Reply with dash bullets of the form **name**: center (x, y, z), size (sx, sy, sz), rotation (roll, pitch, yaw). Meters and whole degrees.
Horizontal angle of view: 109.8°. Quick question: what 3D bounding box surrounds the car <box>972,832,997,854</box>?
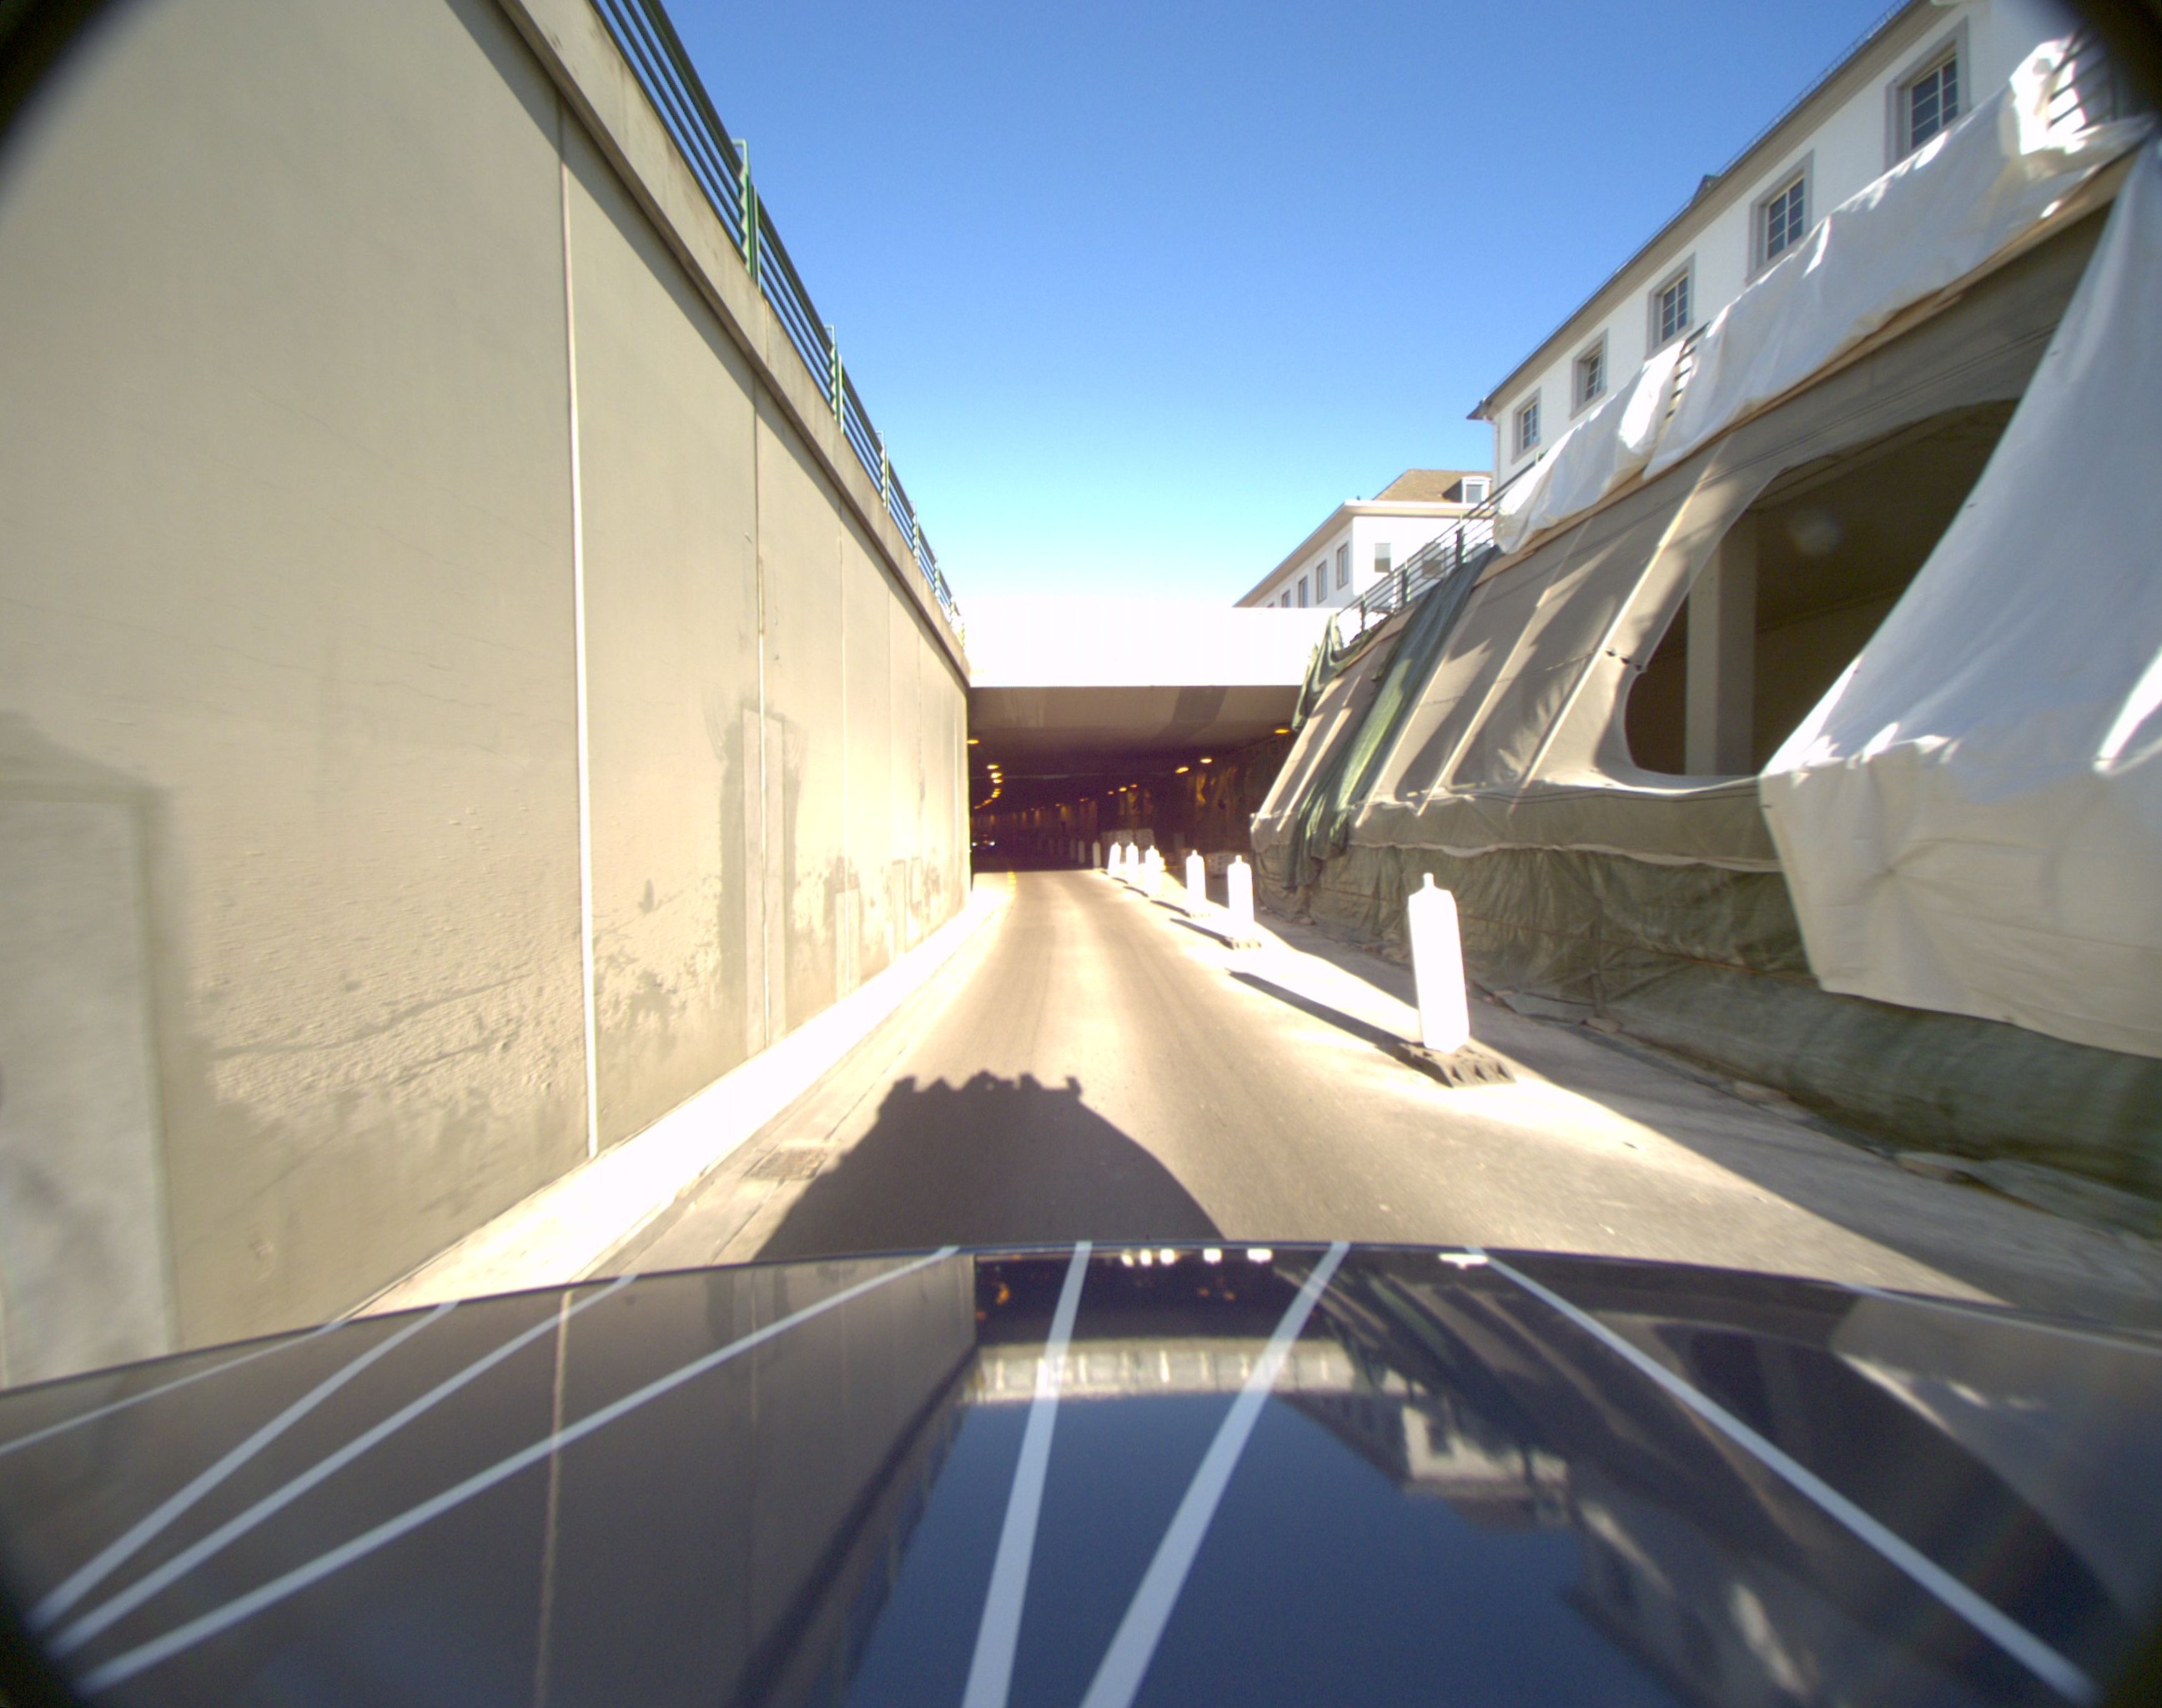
- **car**: center (-7.809, -0.915, 61.208), size (1.898, 1.537, 4.235), rotation (-2, 3, -8)

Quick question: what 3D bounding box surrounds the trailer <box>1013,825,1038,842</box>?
- **trailer**: center (-6.805, -2.493, 92.348), size (2.217, 2.003, 3.459), rotation (-3, 3, -17)
